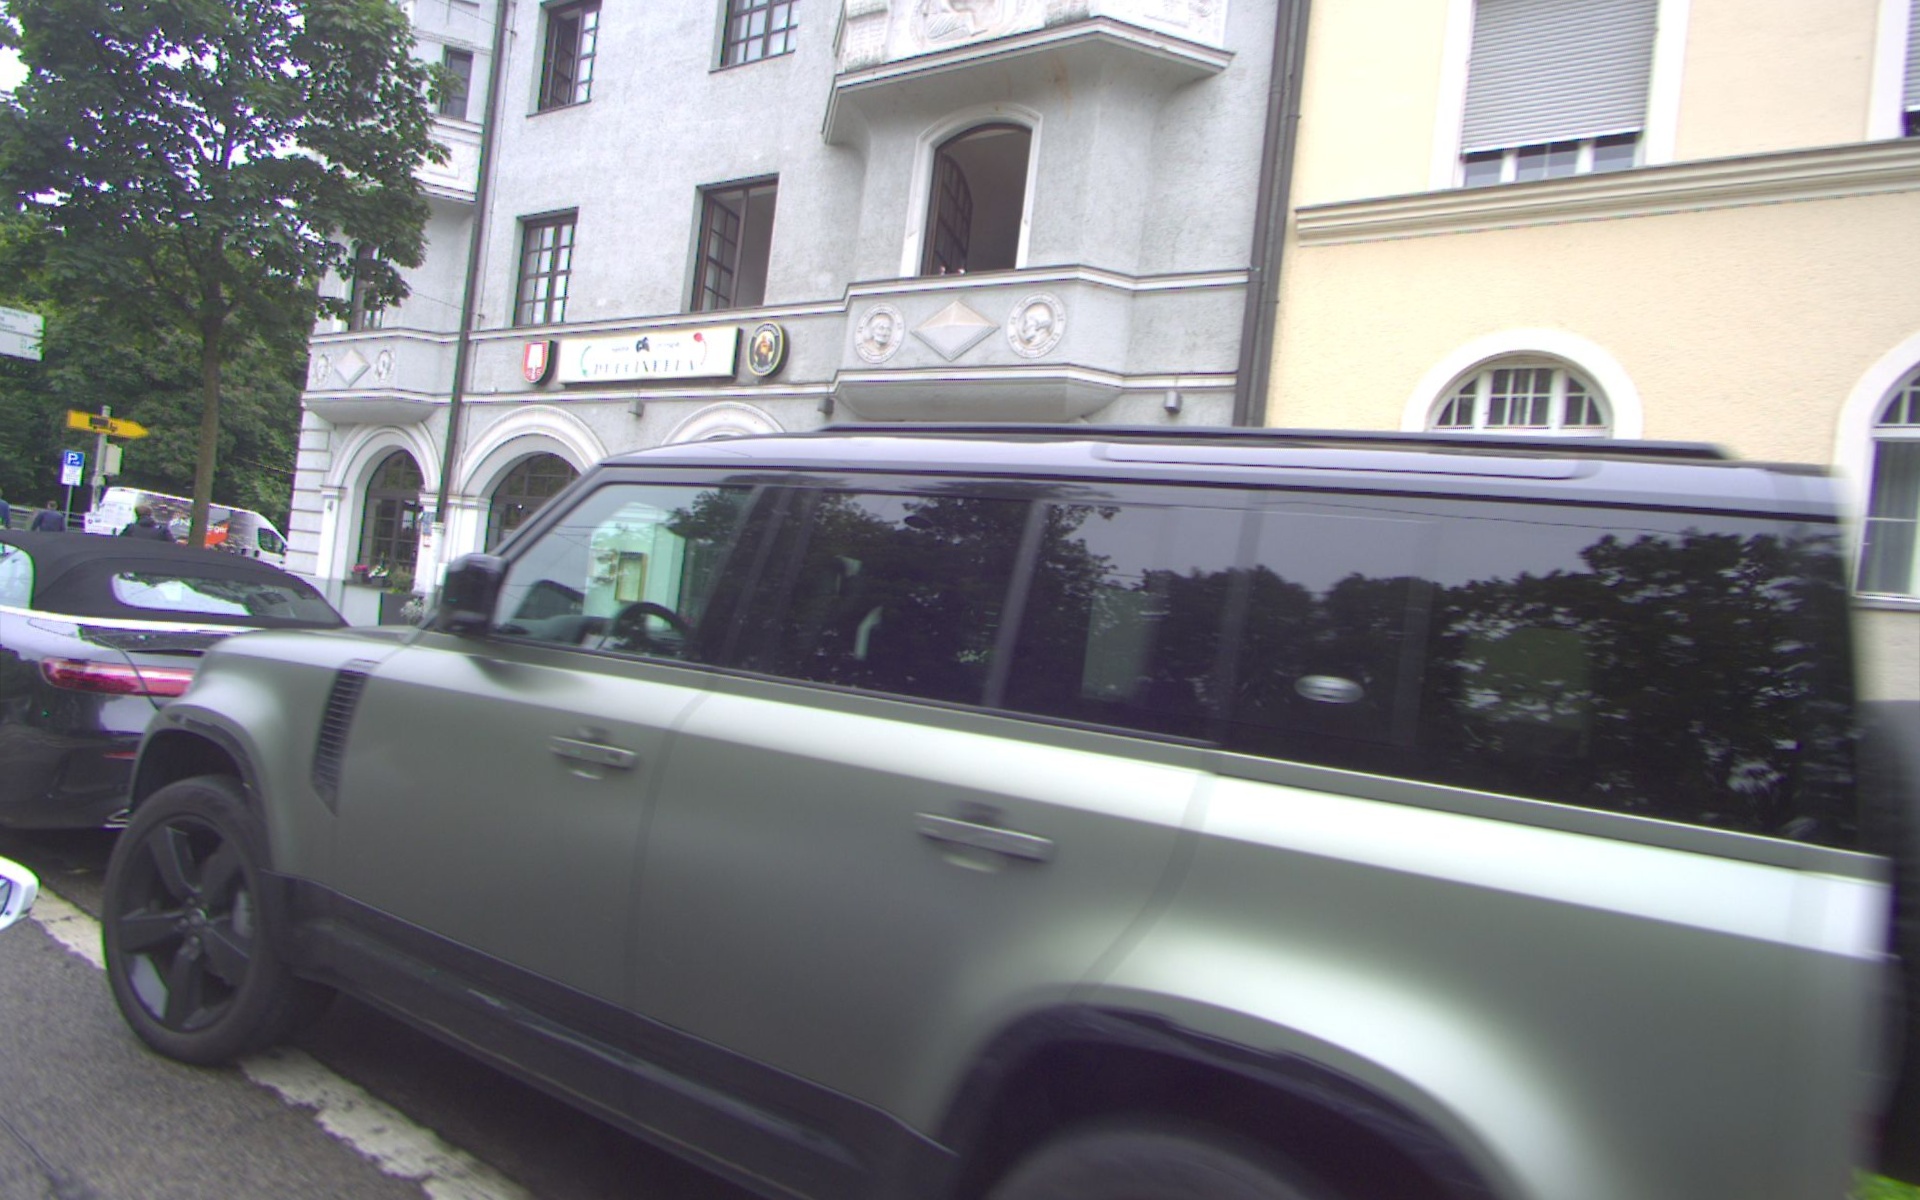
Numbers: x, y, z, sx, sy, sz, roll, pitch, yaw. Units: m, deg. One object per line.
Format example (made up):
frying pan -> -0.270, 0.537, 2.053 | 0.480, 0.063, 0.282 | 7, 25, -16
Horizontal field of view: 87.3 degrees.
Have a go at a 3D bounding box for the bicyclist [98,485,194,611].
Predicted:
bicyclist -> -12.286, -0.778, 15.192 | 0.714, 1.748, 0.726 | 6, -2, 31

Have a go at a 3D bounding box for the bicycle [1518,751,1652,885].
bicycle -> 5.281, 1.821, 8.522 | 0.871, 0.941, 0.273 | 6, -2, 33

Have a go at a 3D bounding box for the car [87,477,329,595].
car -> -22.994, -1.875, 31.049 | 2.192, 2.641, 5.313 | 6, -3, 28

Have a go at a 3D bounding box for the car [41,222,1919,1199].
car -> -0.179, 0.500, 2.766 | 4.726, 1.927, 1.920 | 6, -3, 29

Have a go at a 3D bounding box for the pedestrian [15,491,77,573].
pedestrian -> -24.429, -1.818, 26.900 | 0.767, 2.036, 0.832 | 6, -2, 31

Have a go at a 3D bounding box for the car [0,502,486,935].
car -> -4.824, 0.373, 5.639 | 4.256, 1.609, 1.718 | 6, -3, 32

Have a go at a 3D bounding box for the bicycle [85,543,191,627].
bicycle -> -12.481, -0.237, 15.253 | 1.880, 1.092, 0.579 | 6, 1, 30

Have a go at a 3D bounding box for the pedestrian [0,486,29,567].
pedestrian -> -25.443, -1.978, 26.580 | 0.767, 2.036, 0.832 | 6, -2, 31
